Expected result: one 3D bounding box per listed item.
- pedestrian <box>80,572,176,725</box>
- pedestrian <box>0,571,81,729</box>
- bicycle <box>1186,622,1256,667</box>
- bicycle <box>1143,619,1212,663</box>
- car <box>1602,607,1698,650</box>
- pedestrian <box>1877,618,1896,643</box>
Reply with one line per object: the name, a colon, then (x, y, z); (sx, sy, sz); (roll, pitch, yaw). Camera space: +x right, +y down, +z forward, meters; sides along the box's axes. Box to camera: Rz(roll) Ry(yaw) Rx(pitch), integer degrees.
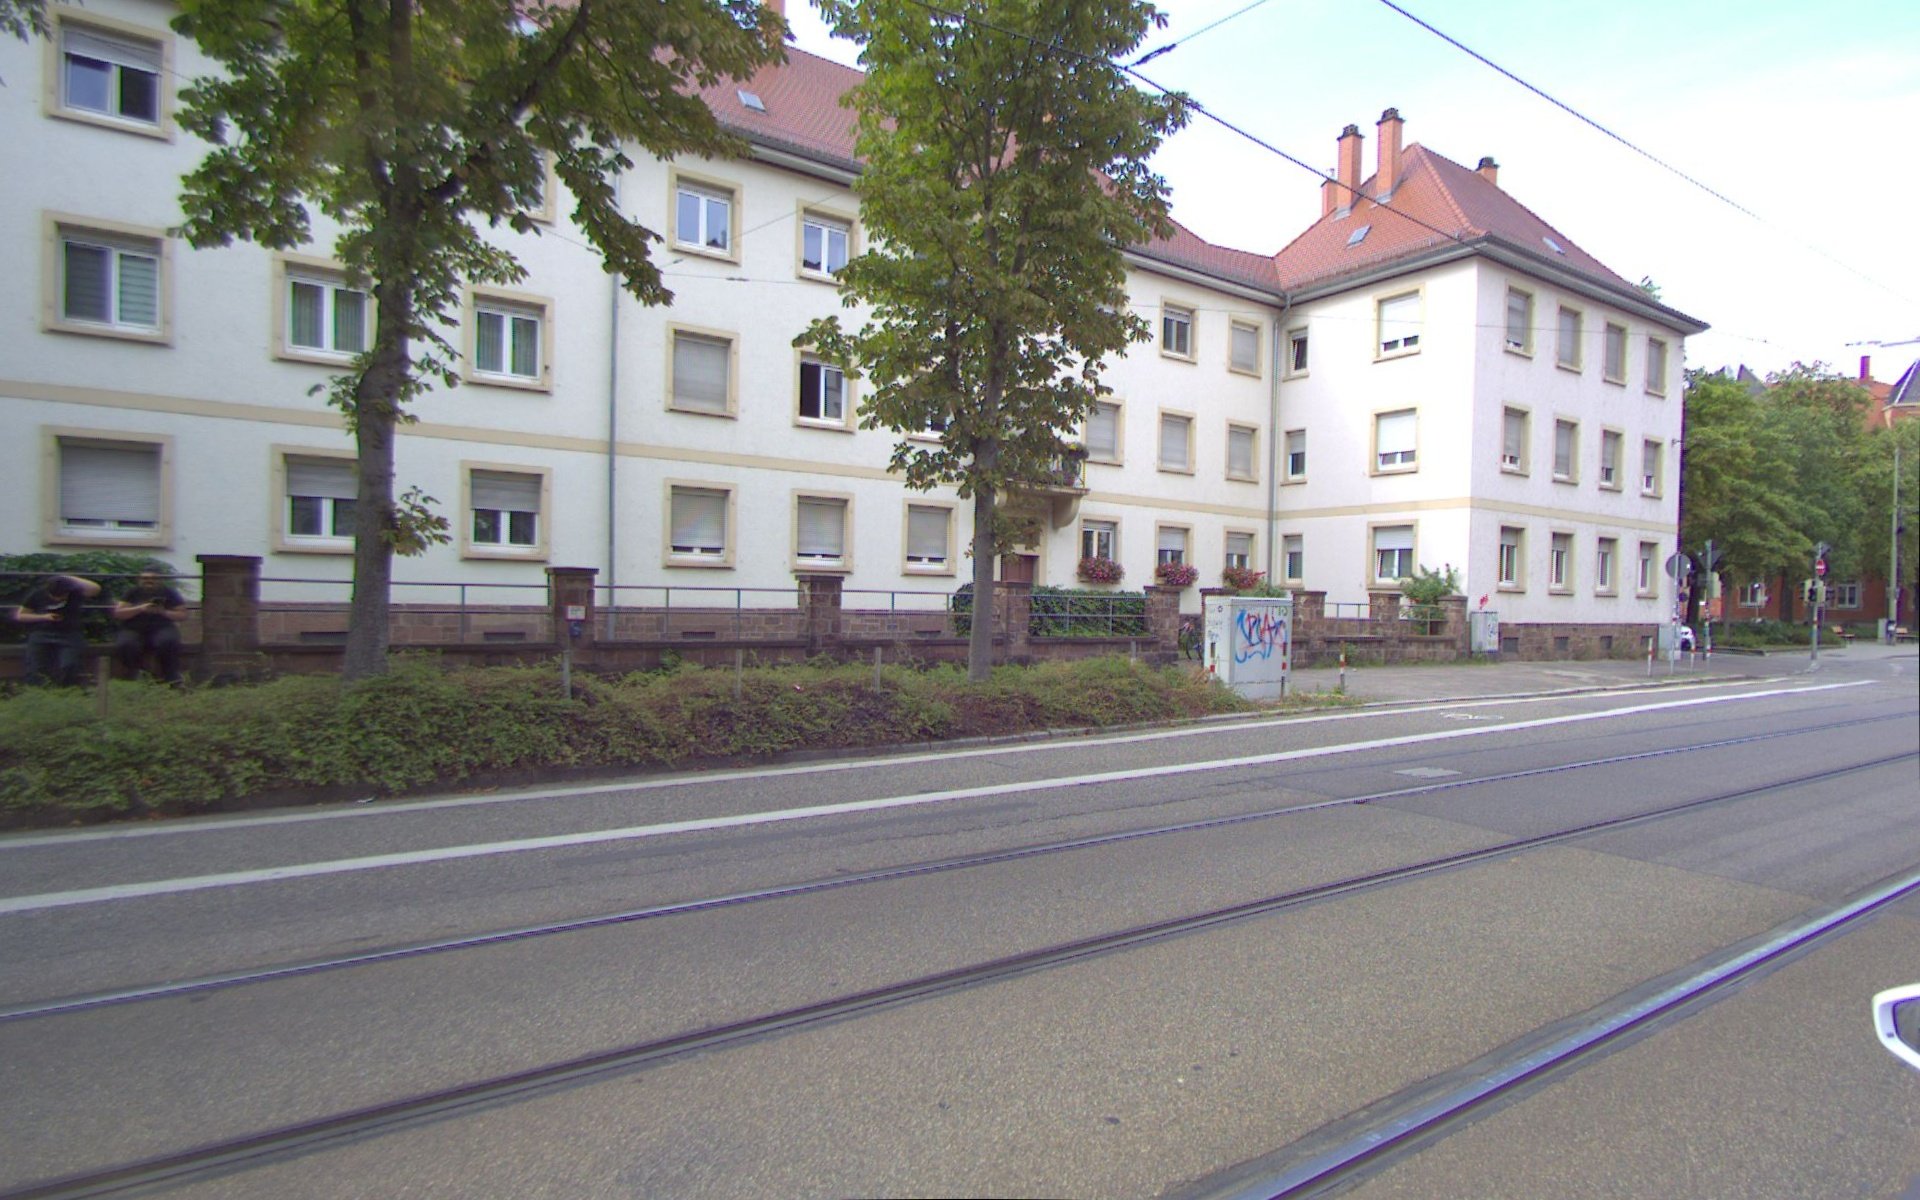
pedestrian: (-8.517, 0.474, 10.316); (0.726, 1.484, 0.826); (1, 0, -38)
pedestrian: (-9.131, 0.469, 9.834); (0.726, 1.484, 0.826); (1, 0, -38)
bicycle: (5.659, 0.957, 21.728); (1.654, 0.927, 0.475); (1, 0, -34)
bicycle: (4.851, 0.904, 22.345); (1.654, 0.927, 0.475); (1, 0, -34)
car: (31.100, 1.310, 45.444); (1.804, 1.743, 4.162); (2, -2, 7)
pedestrian: (65.129, 2.169, 70.596); (0.726, 1.726, 0.826); (1, 1, -38)
